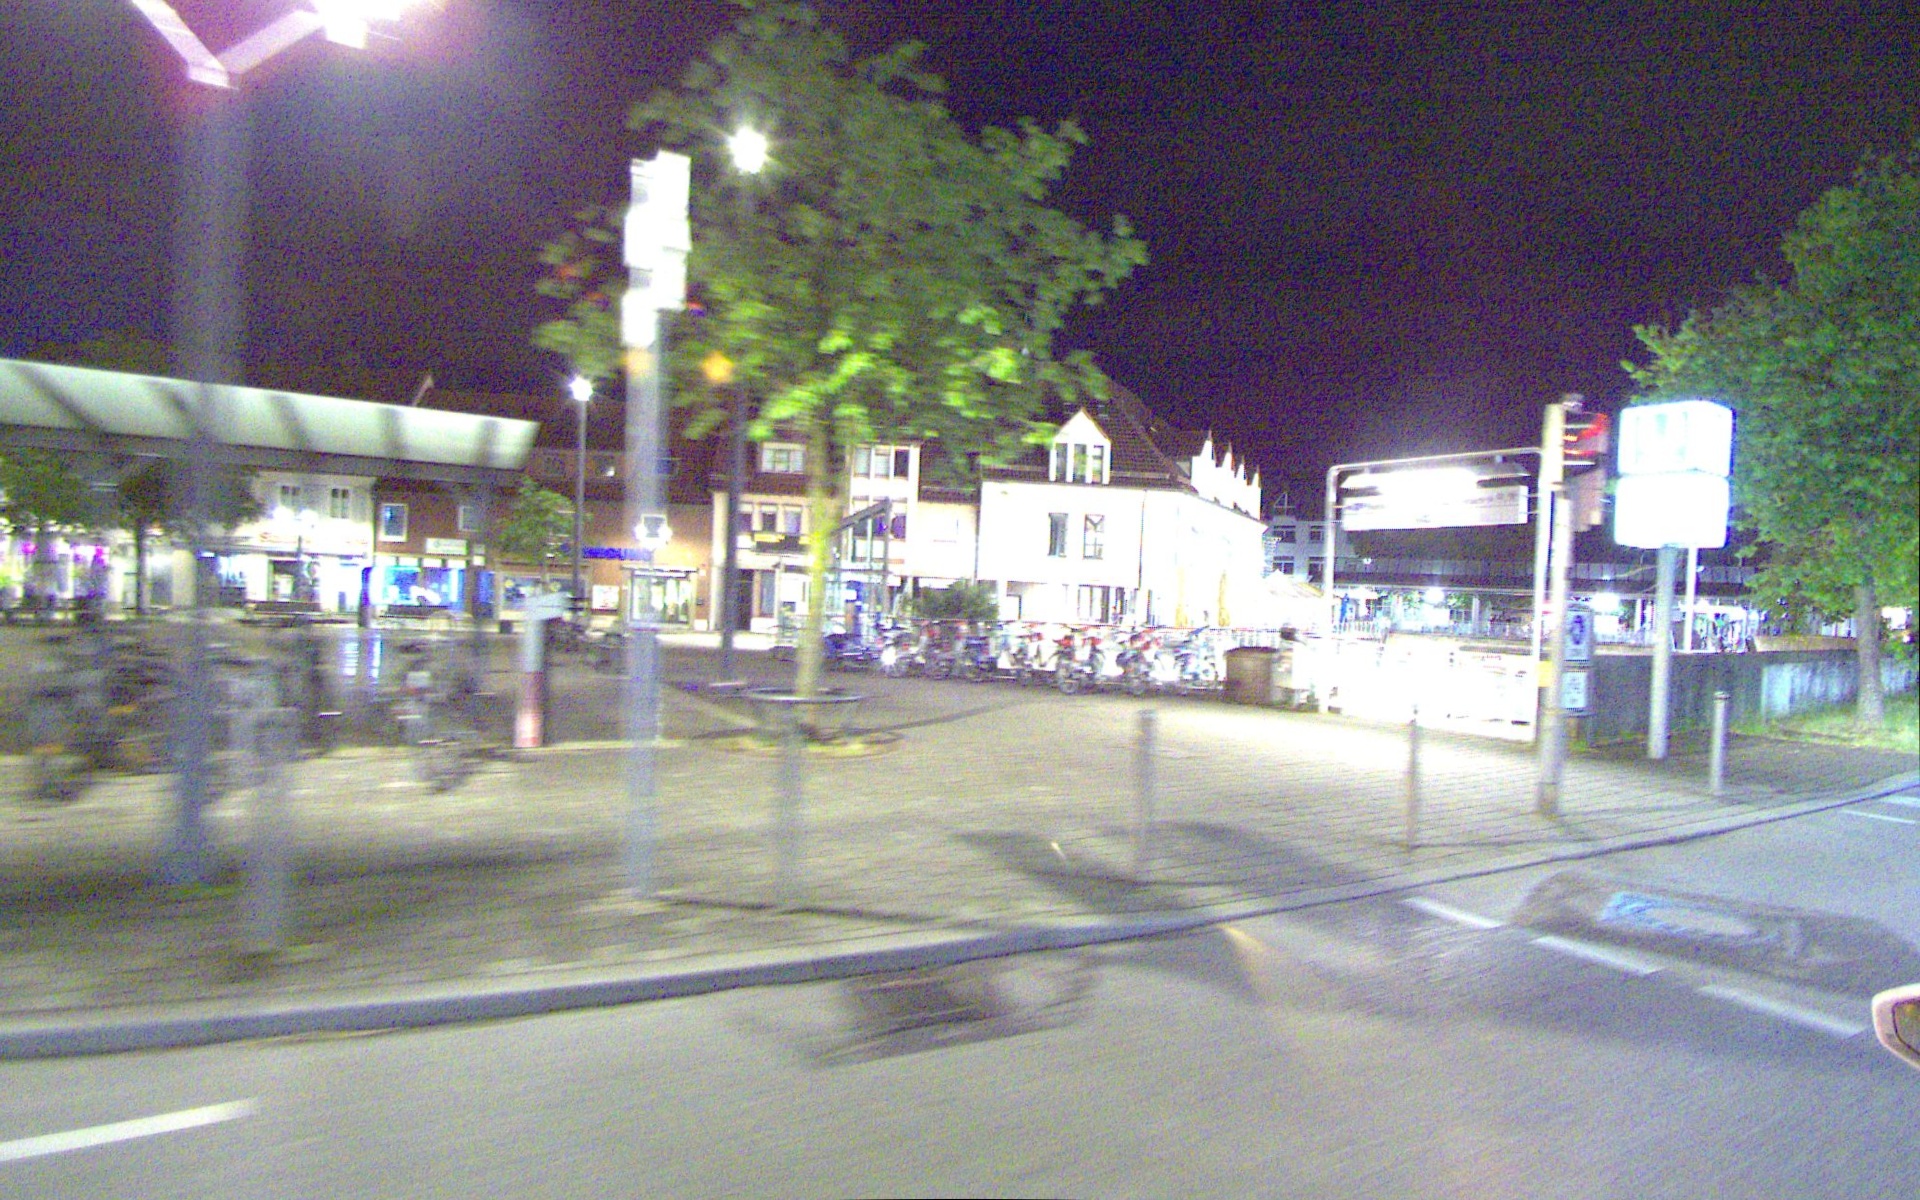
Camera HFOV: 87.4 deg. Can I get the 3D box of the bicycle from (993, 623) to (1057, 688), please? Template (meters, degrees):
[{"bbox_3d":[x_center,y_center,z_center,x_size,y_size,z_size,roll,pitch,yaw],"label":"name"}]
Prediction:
[{"bbox_3d":[1.203,0.980,18.220,0.597,1.084,1.746,1,0,24],"label":"bicycle"}]

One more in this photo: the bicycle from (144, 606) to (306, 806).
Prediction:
[{"bbox_3d":[-4.858,0.638,6.736,0.662,1.120,1.608,3,0,-30],"label":"bicycle"}]

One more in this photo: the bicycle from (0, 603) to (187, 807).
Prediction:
[{"bbox_3d":[-5.578,0.608,6.499,0.662,1.120,1.608,3,0,-30],"label":"bicycle"}]

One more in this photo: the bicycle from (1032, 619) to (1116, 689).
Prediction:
[{"bbox_3d":[2.068,0.949,18.090,0.600,1.181,1.737,1,0,42],"label":"bicycle"}]

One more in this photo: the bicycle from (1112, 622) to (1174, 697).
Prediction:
[{"bbox_3d":[3.103,0.970,16.892,0.535,1.170,1.745,1,0,27],"label":"bicycle"}]

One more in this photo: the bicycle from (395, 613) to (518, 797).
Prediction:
[{"bbox_3d":[-3.677,0.695,7.268,0.662,1.120,1.608,3,0,-30],"label":"bicycle"}]

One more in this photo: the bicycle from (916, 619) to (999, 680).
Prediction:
[{"bbox_3d":[-0.039,0.925,19.399,0.600,1.115,1.738,1,0,41],"label":"bicycle"}]

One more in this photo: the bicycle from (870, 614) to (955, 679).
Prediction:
[{"bbox_3d":[-0.892,0.875,19.403,0.600,1.181,1.738,1,0,41],"label":"bicycle"}]

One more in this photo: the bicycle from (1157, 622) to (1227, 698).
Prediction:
[{"bbox_3d":[3.953,0.977,17.036,0.747,1.177,1.745,1,0,27],"label":"bicycle"}]

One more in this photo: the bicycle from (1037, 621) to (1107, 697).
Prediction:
[{"bbox_3d":[1.915,0.954,16.949,0.597,1.181,1.745,1,0,27],"label":"bicycle"}]

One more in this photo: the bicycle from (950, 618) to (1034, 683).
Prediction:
[{"bbox_3d":[0.622,0.921,18.818,0.600,1.140,1.738,1,0,41],"label":"bicycle"}]

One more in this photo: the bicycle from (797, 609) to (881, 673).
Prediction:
[{"bbox_3d":[-2.455,0.811,20.482,0.600,1.235,1.738,1,0,41],"label":"bicycle"}]

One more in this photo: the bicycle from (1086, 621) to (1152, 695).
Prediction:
[{"bbox_3d":[2.759,0.962,17.275,0.597,1.181,1.745,1,0,27],"label":"bicycle"}]
